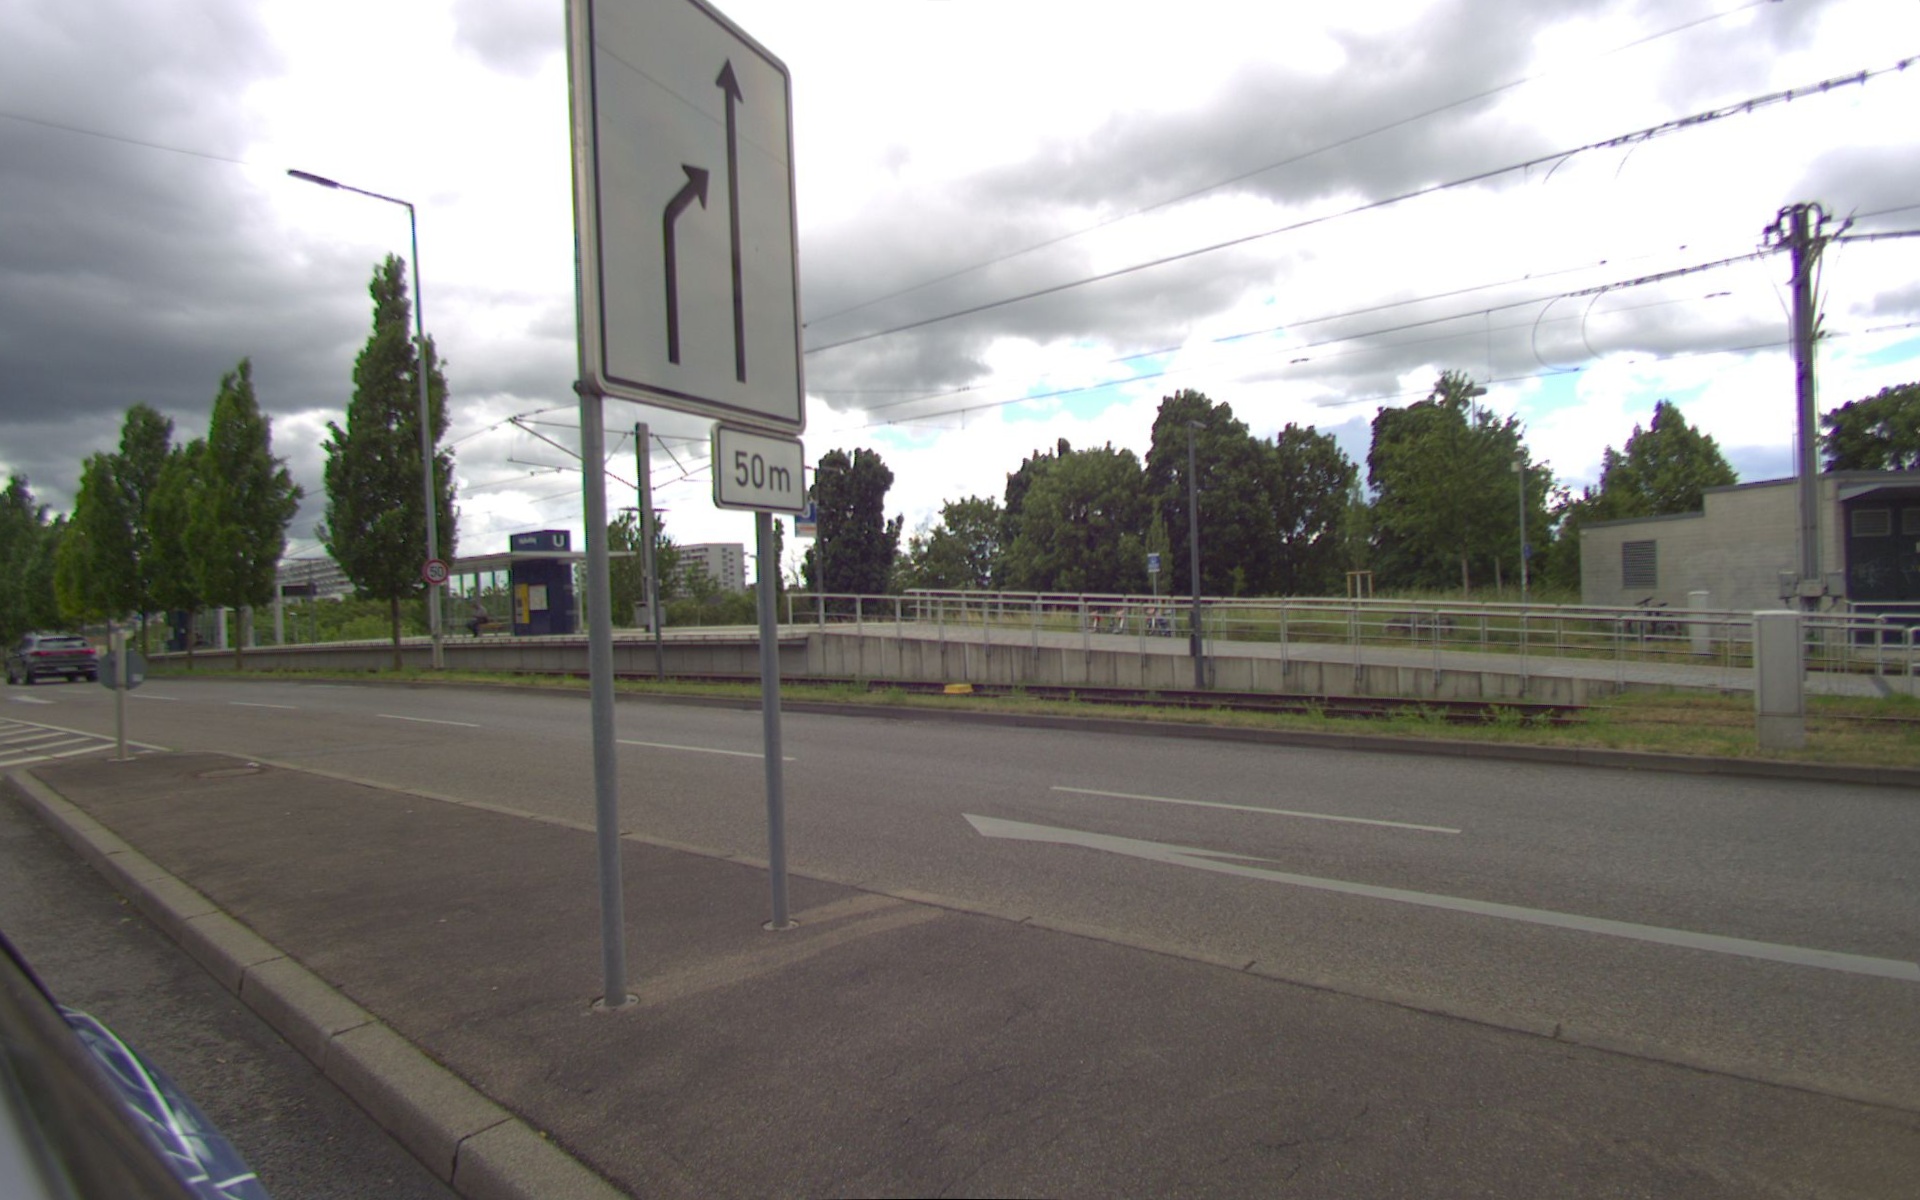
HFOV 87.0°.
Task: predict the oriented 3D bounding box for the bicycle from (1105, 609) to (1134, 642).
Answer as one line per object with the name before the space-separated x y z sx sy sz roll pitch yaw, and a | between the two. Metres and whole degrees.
bicycle | 5.442 0.865 34.456 0.490 1.095 1.466 -2 -1 30

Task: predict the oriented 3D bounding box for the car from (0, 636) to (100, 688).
car | -30.063 1.987 33.336 4.217 1.558 1.762 -2 -1 37

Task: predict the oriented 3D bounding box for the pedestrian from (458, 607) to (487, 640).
pedestrian | -18.249 0.878 37.871 0.781 1.211 0.656 -2 -1 33

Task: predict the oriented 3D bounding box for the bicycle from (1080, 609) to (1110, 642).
bicycle | 4.685 0.886 35.158 0.490 1.095 1.466 -2 -1 30

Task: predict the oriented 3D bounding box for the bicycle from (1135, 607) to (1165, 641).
bicycle | 6.382 0.800 33.945 0.490 1.095 1.466 -2 -1 30

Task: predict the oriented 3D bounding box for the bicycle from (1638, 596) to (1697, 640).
bicycle | 18.196 0.455 26.056 0.486 1.095 1.480 -1 -1 3

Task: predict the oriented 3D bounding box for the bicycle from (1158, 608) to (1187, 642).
bicycle | 7.048 0.813 33.464 0.490 1.095 1.466 -2 -1 30
